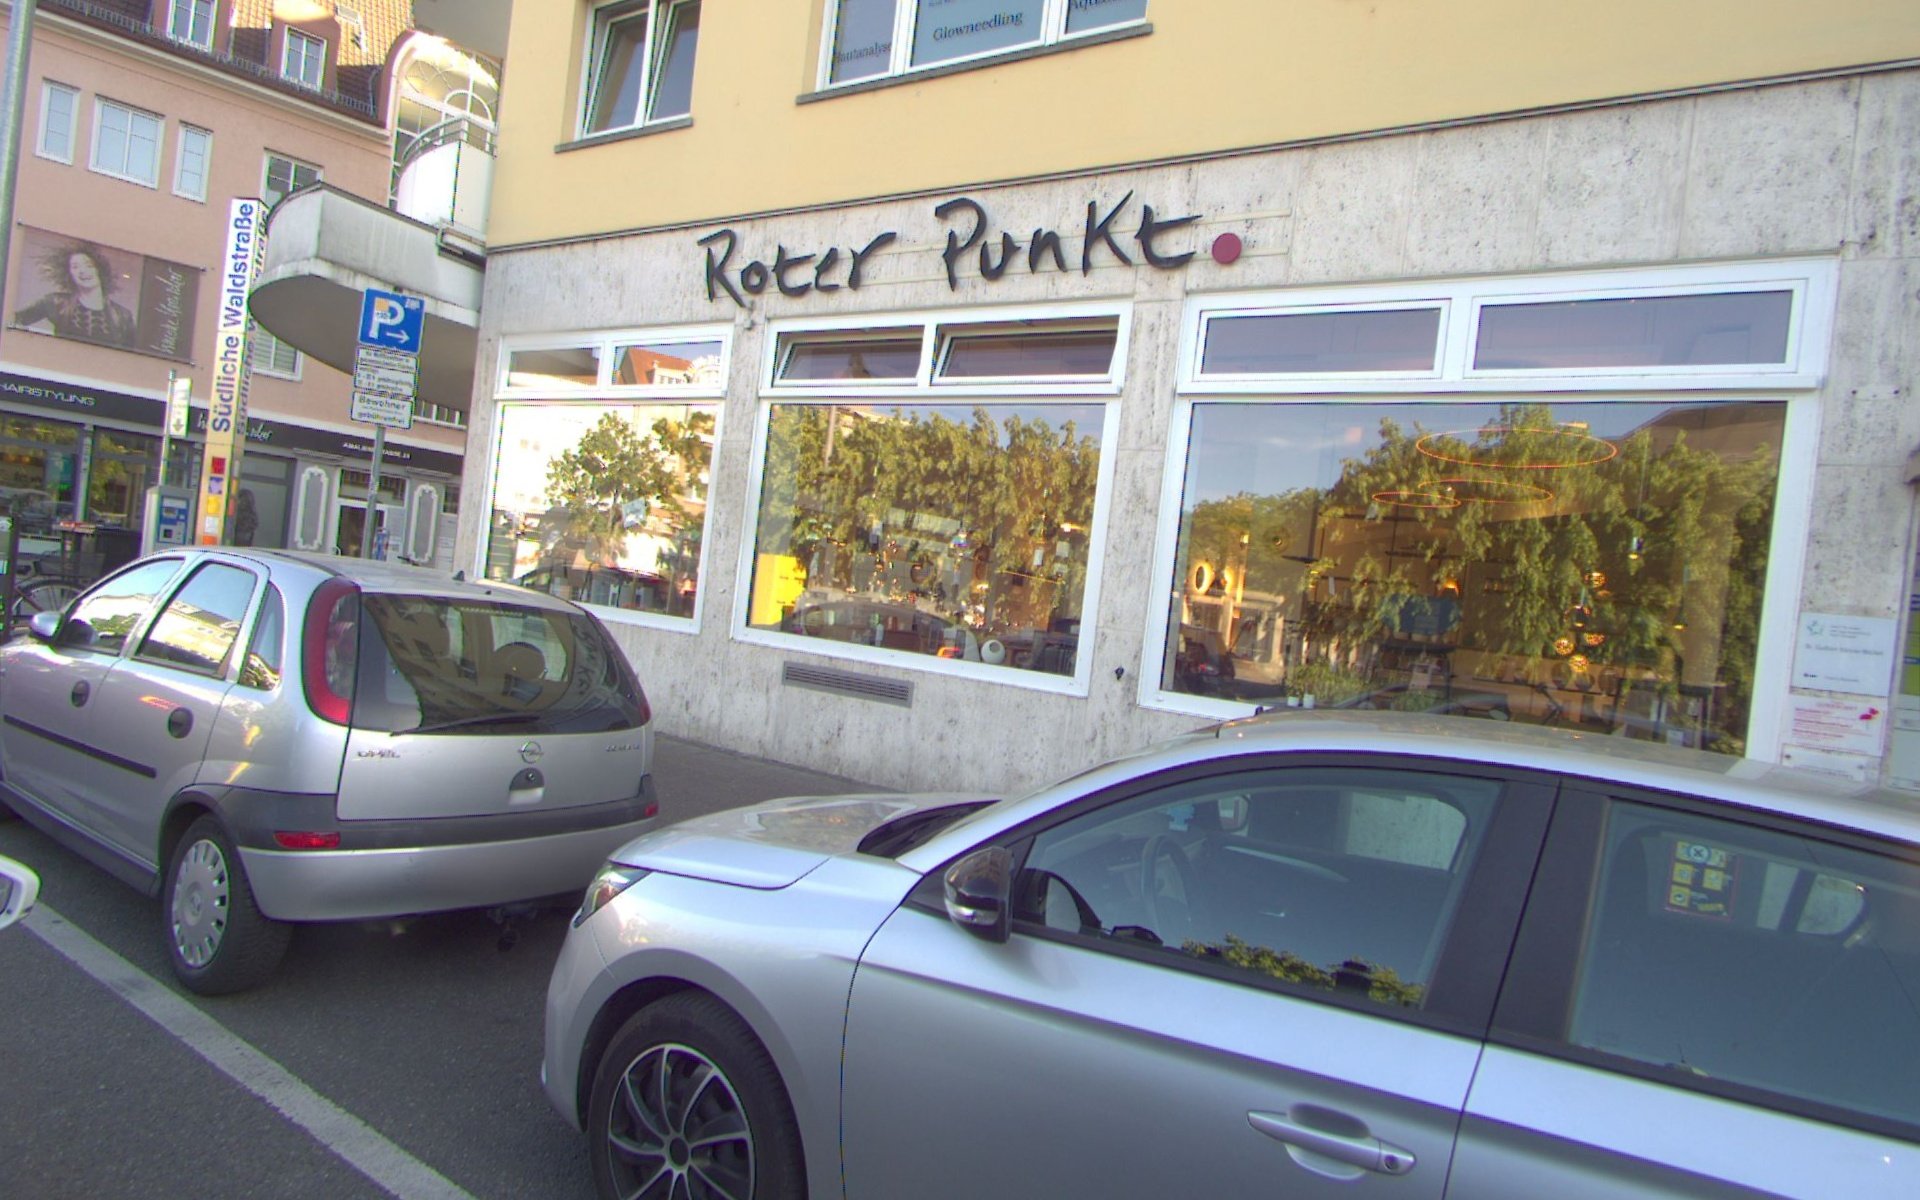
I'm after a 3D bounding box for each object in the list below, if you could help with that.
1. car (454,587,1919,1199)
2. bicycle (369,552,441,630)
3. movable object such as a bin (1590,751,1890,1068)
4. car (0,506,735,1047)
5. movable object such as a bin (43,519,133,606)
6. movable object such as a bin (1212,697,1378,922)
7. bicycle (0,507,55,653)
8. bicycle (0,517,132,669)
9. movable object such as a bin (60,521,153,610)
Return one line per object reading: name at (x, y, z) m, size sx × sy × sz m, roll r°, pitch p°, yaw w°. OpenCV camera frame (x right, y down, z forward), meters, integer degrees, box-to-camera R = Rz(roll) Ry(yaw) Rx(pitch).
car at (0.772, 0.922, 2.326) m, size 3.643 × 1.415 × 1.653 m, roll 7°, pitch -1°, yaw 30°
bicycle at (-9.965, -0.182, 18.023) m, size 0.656 × 1.213 × 2.187 m, roll 7°, pitch -1°, yaw -39°
movable object such as a bin at (3.407, 1.296, 4.499) m, size 0.879 × 1.066 × 0.751 m, roll 7°, pitch 0°, yaw 32°
car at (-2.948, 0.474, 4.477) m, size 3.583 × 1.397 × 1.616 m, roll 7°, pitch -2°, yaw 32°
movable object such as a bin at (-12.444, -0.532, 14.365) m, size 0.617 × 1.105 × 0.734 m, roll 6°, pitch -1°, yaw 34°
movable object such as a bin at (1.854, 1.094, 5.523) m, size 0.592 × 1.041 × 0.811 m, roll 7°, pitch 0°, yaw 32°
bicycle at (-9.117, -0.241, 8.718) m, size 0.778 × 1.284 × 1.721 m, roll 7°, pitch 1°, yaw 37°
bicycle at (-8.112, -0.089, 8.244) m, size 0.681 × 1.208 × 1.885 m, roll 8°, pitch 1°, yaw 37°
movable object such as a bin at (-11.908, -0.474, 14.044) m, size 0.617 × 1.105 × 0.754 m, roll 6°, pitch -1°, yaw 34°
